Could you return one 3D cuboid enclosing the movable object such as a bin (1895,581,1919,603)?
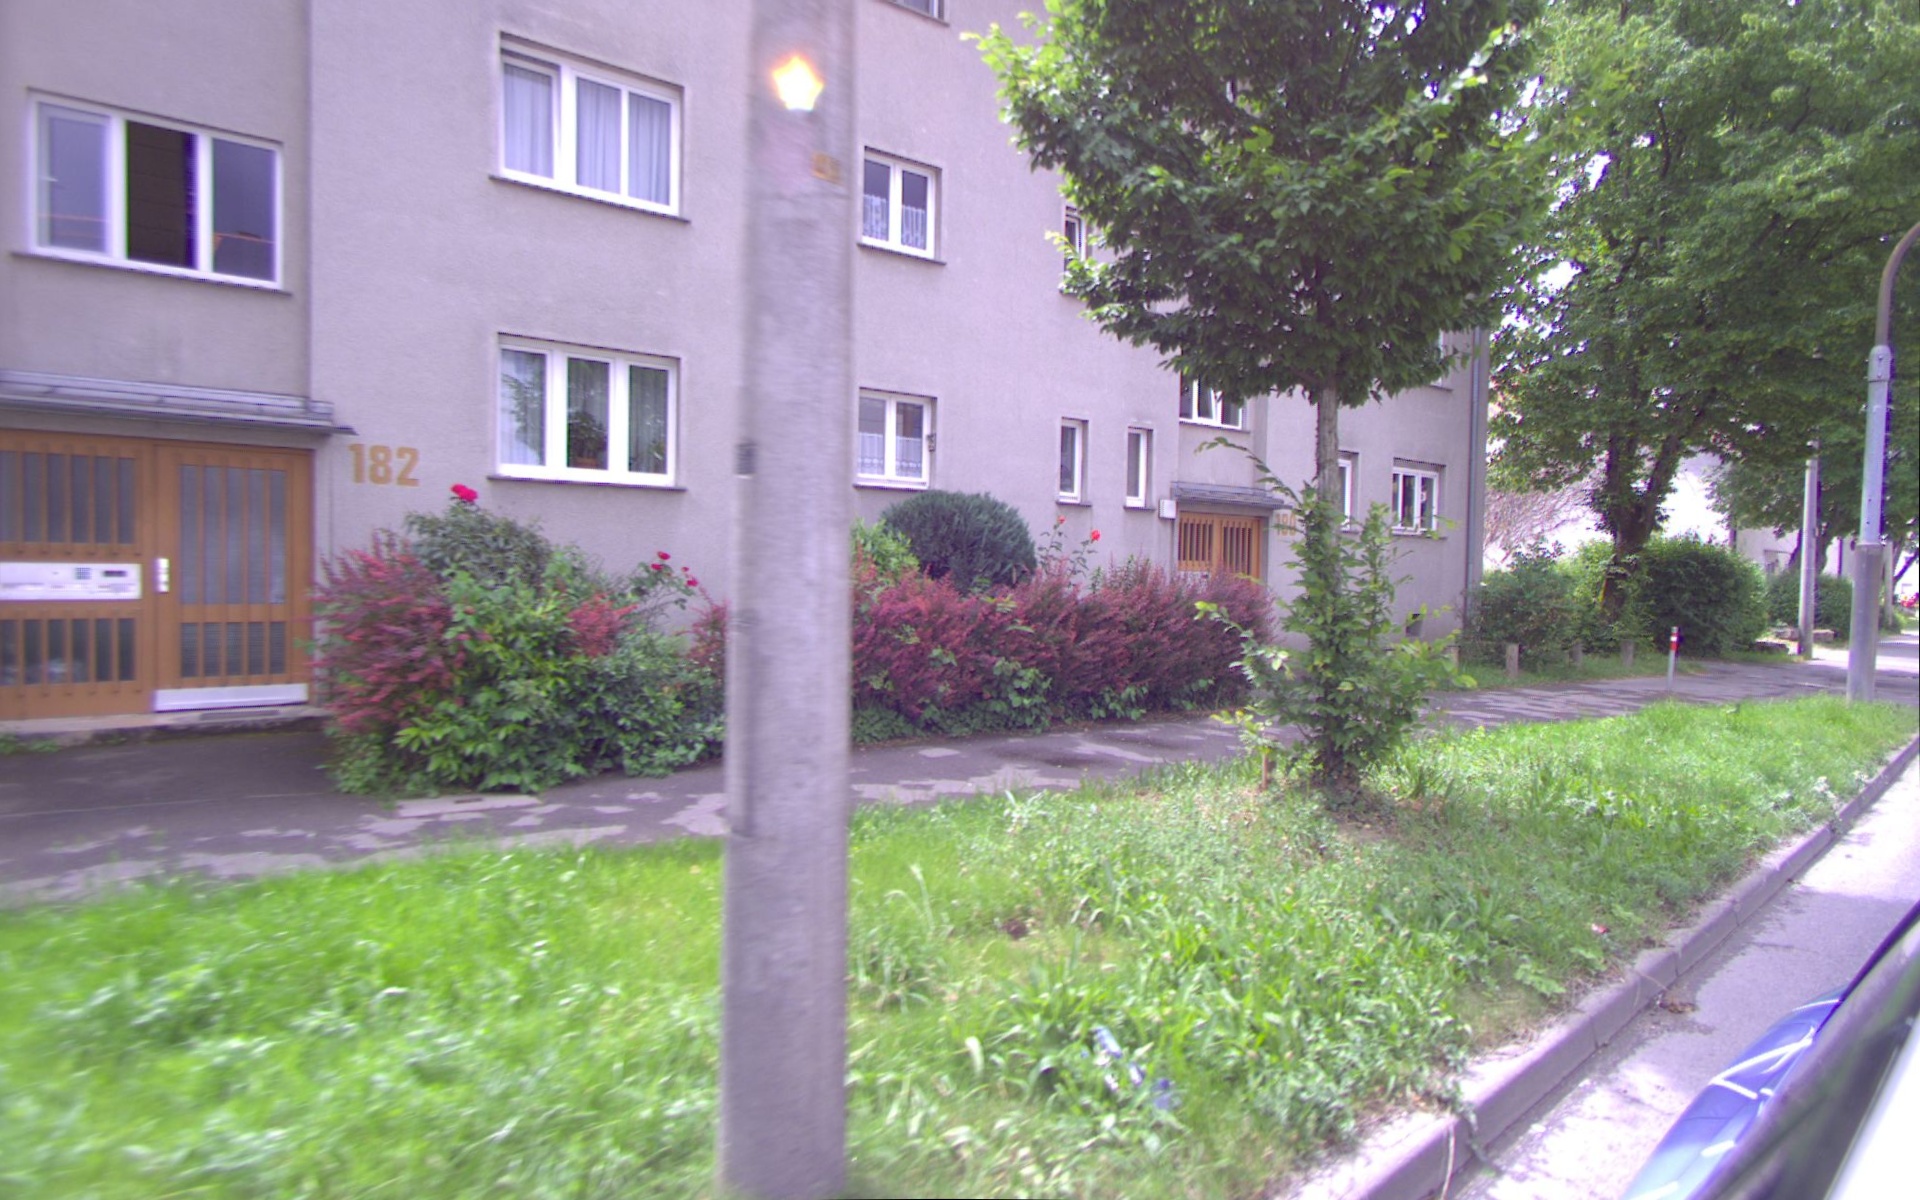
[{"bbox_3d":[89.264,-0.700,93.924,1.960,2.038,2.973,1,2,-6],"label":"movable object such as a bin"}]
